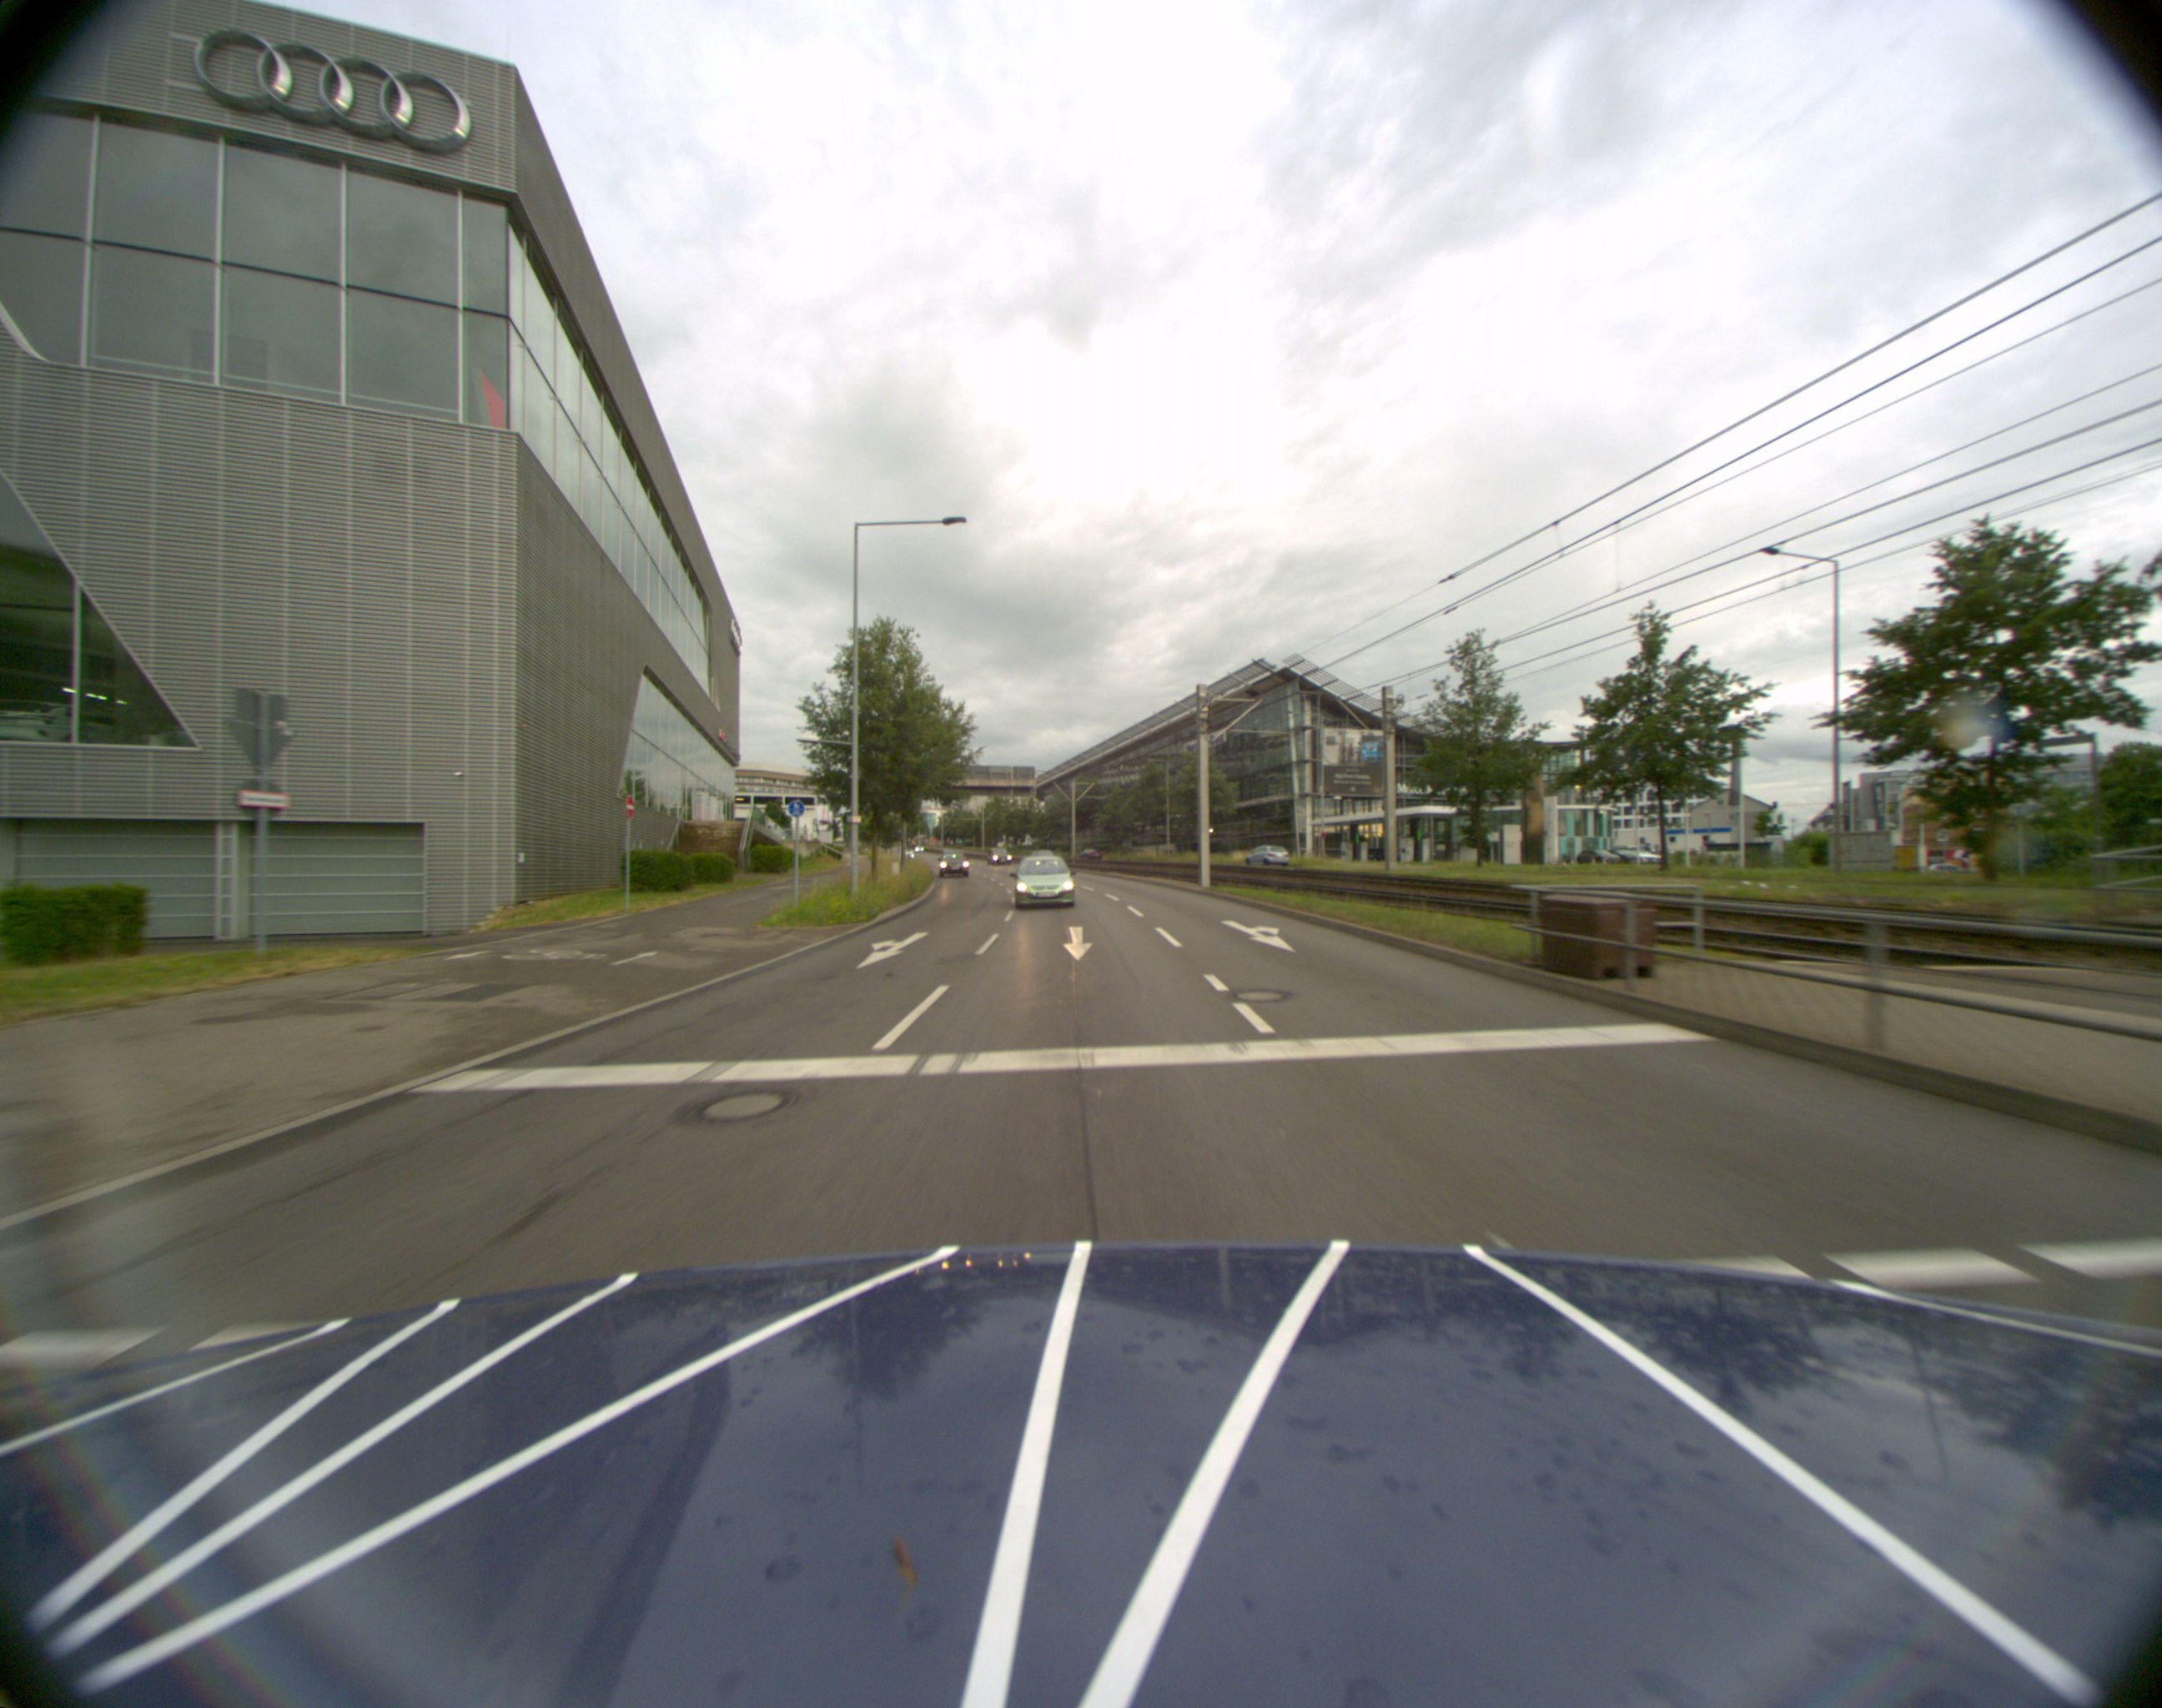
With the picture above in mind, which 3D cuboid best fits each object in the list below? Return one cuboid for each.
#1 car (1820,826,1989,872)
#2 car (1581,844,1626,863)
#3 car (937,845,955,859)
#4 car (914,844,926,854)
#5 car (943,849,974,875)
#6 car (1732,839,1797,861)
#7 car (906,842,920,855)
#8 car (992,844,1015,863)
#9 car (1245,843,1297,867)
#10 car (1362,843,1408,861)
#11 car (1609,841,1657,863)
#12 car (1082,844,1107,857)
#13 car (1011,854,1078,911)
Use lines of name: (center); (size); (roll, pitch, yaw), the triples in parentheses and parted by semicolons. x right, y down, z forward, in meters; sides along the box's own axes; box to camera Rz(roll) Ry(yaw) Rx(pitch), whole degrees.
car: (32.077, -0.261, 29.784); (2.000, 1.642, 3.994); (-2, 3, -12)
car: (53.050, -0.079, 77.177); (1.782, 1.701, 3.745); (-2, 3, -6)
car: (-16.708, -0.264, 93.934); (1.863, 1.673, 4.108); (0, 0, -16)
car: (-33.824, -1.107, 159.693); (2.001, 2.003, 3.993); (-2, 3, -16)
car: (-7.925, 0.495, 49.245); (1.830, 1.599, 4.110); (-2, 0, -8)
car: (57.622, -0.378, 64.081); (2.003, 1.718, 3.988); (-5, 4, -45)
car: (-24.941, -0.785, 112.916); (1.863, 1.799, 4.108); (-2, 0, -15)
car: (-7.712, -0.050, 75.225); (1.862, 1.799, 4.110); (-2, 0, -10)
car: (14.392, 0.077, 57.823); (2.001, 1.670, 3.994); (-2, 1, -17)
car: (32.102, -0.237, 80.300); (1.898, 1.841, 3.988); (-4, 4, -44)
car: (56.370, -0.230, 77.679); (1.907, 2.003, 3.742); (-2, 3, -6)
car: (1.646, -0.450, 93.167); (1.890, 1.512, 4.397); (2, 0, -15)
car: (-1.121, 0.802, 23.375); (1.829, 1.499, 4.112); (-2, 1, -3)
